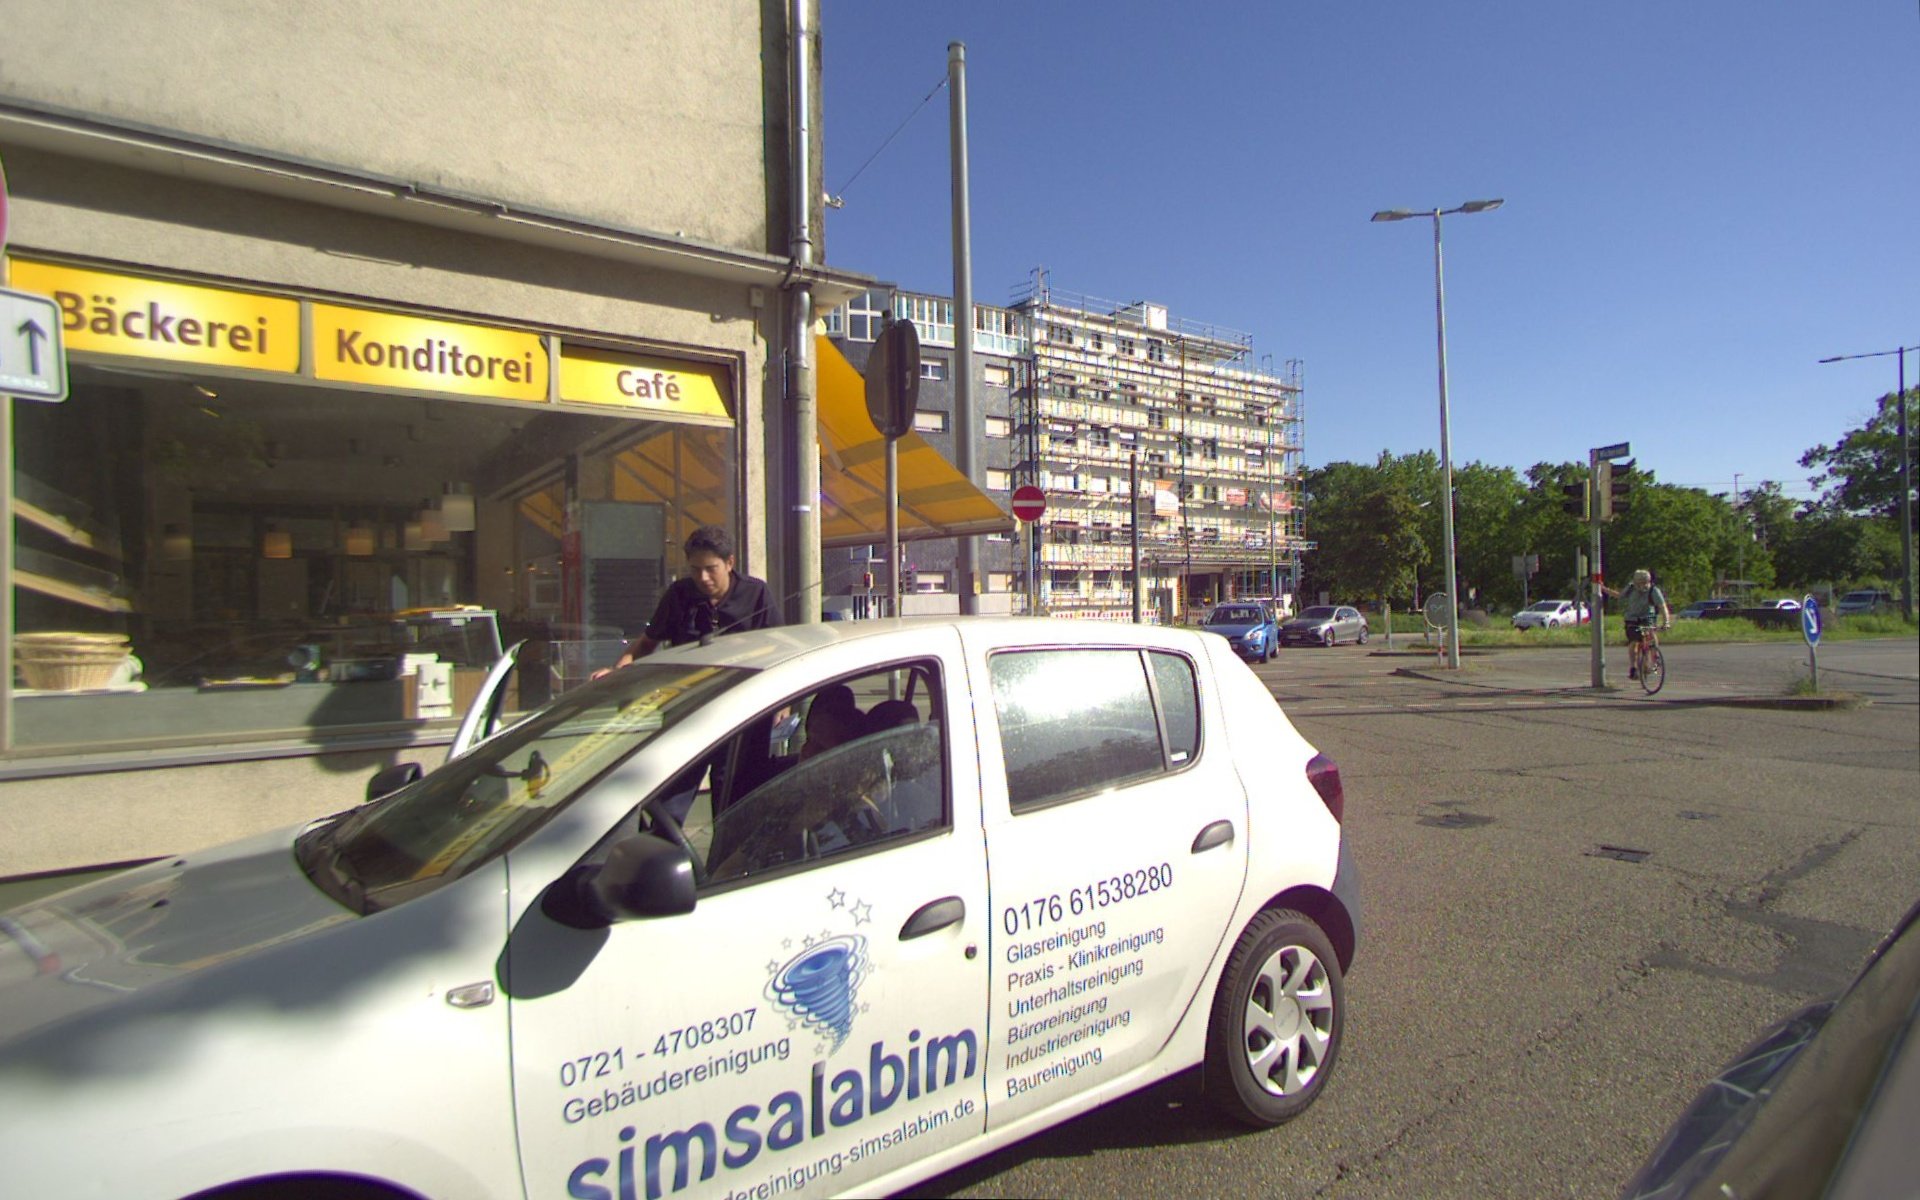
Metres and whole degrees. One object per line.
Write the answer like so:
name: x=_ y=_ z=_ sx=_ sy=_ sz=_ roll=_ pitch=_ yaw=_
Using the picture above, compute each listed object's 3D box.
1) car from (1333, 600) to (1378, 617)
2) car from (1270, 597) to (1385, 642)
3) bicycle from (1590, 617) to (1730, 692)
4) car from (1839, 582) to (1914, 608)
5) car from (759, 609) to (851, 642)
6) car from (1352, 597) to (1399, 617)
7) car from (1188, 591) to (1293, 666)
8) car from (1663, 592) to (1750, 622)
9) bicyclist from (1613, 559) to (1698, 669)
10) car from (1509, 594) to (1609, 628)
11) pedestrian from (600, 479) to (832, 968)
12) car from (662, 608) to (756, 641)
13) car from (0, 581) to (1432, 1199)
car: x=33.987 y=0.720 z=86.913 sx=3.613 sy=1.412 sz=1.823 roll=-1 pitch=0 yaw=-33
car: x=13.079 y=0.658 z=35.934 sx=4.405 sy=1.474 sz=1.871 roll=0 pitch=-1 yaw=-40
bicycle: x=10.243 y=0.768 z=14.910 sx=0.815 sy=0.999 sz=1.943 roll=-1 pitch=0 yaw=5
car: x=54.396 y=-0.278 z=60.069 sx=4.393 sy=1.474 sz=1.876 roll=-1 pitch=-1 yaw=-27
car: x=-7.126 y=1.179 z=46.710 sx=3.926 sy=1.434 sz=1.687 roll=-1 pitch=-1 yaw=2
car: x=34.809 y=0.594 z=84.777 sx=3.613 sy=1.604 sz=1.823 roll=-1 pitch=0 yaw=-33
car: x=7.463 y=0.694 z=26.614 sx=1.855 sy=1.798 sz=4.444 roll=-1 pitch=-1 yaw=26
car: x=39.153 y=0.350 z=53.063 sx=4.393 sy=1.474 sz=1.876 roll=-1 pitch=-1 yaw=-27
bicyclist: x=10.214 y=0.207 z=14.879 sx=0.813 sy=1.584 sz=0.595 roll=-1 pitch=-1 yaw=6
car: x=27.437 y=0.489 z=46.328 sx=4.393 sy=1.474 sz=1.876 roll=-1 pitch=-1 yaw=-27
pedestrian: x=-1.015 y=0.440 z=4.131 sx=0.730 sy=1.744 sz=0.762 roll=0 pitch=-1 yaw=-29
car: x=-11.612 y=1.138 z=46.918 sx=3.926 sy=1.434 sz=1.687 roll=-1 pitch=-1 yaw=2
car: x=-0.593 y=0.732 z=2.875 sx=3.946 sy=1.516 sz=1.725 roll=-1 pitch=-1 yaw=-34
